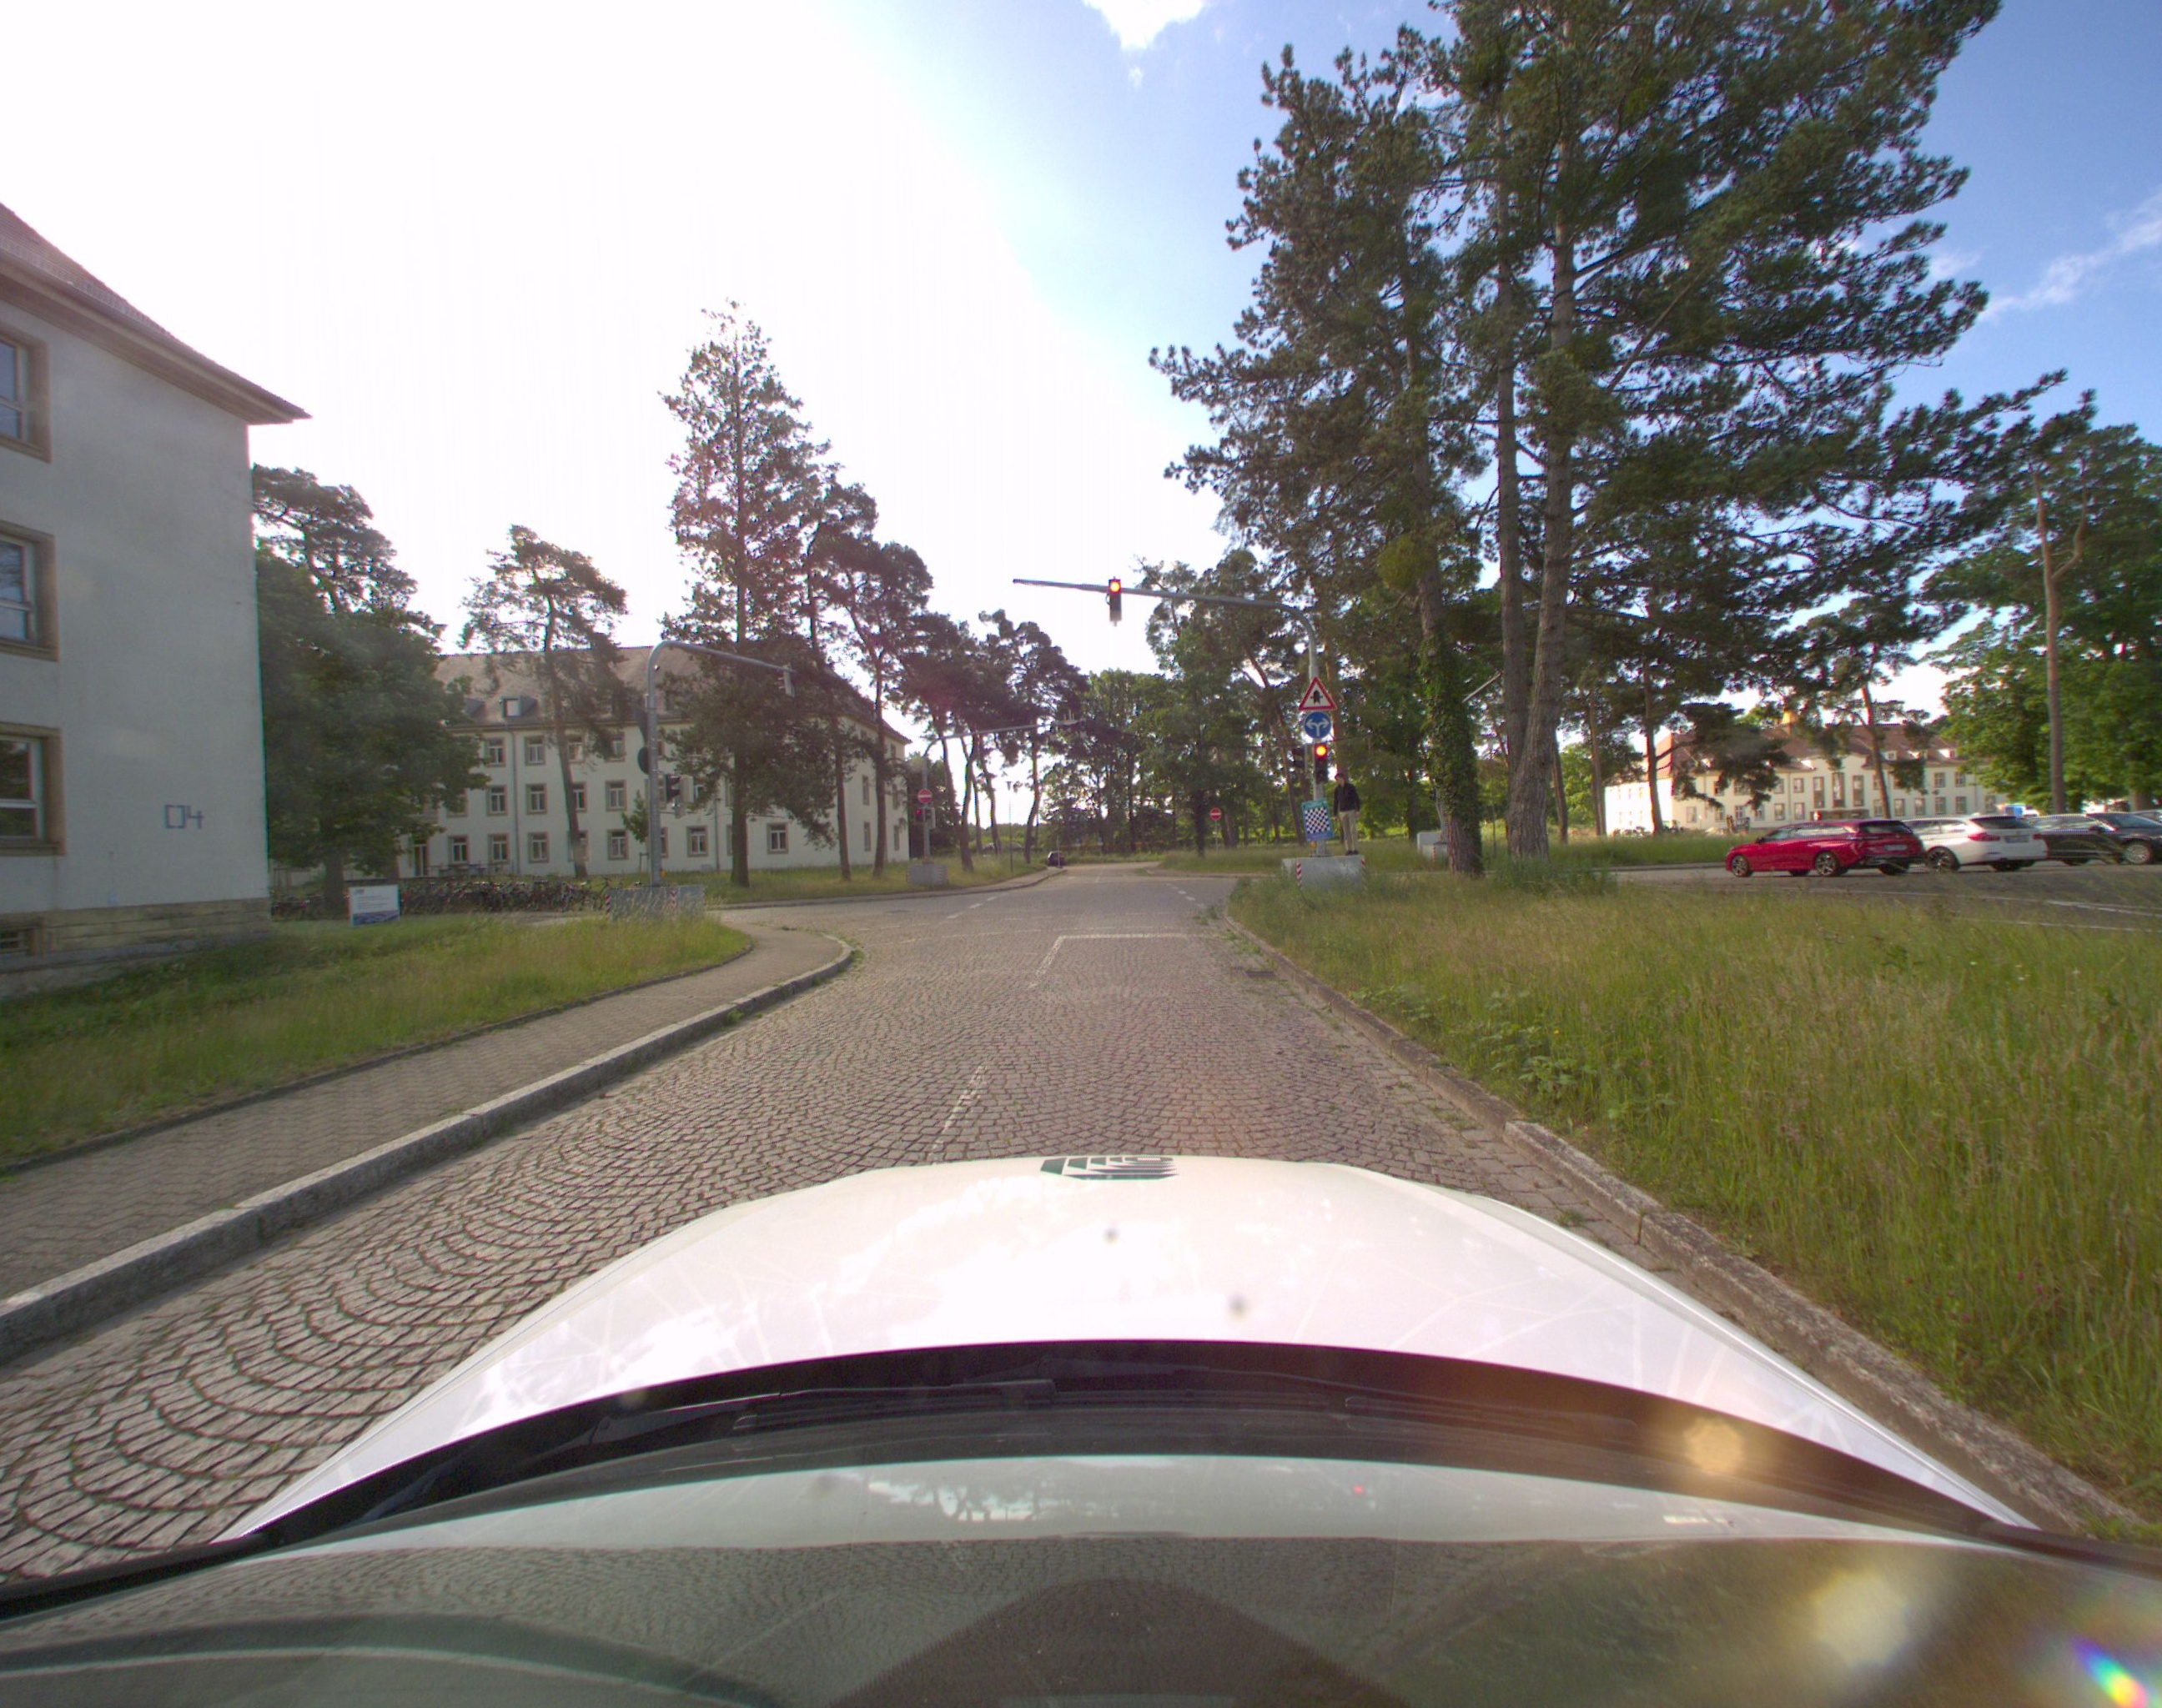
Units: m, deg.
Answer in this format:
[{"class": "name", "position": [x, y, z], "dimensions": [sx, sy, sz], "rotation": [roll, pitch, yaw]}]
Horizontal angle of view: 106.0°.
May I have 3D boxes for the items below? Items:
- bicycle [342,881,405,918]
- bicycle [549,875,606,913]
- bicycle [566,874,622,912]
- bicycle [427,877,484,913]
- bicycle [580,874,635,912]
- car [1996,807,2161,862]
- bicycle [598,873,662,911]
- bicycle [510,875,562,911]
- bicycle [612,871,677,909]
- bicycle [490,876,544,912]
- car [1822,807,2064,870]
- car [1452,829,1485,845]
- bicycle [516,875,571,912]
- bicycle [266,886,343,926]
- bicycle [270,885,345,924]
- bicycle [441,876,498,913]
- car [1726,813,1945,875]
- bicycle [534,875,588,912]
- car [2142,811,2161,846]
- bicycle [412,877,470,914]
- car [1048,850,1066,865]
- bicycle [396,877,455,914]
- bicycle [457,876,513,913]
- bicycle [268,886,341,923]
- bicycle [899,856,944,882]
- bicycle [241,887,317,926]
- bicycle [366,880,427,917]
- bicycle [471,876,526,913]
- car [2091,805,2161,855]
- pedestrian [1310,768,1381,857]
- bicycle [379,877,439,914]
[{"class": "bicycle", "position": [-26.087, 1.643, 30.075], "dimensions": [0.512, 1.220, 1.938], "rotation": [-2, 0, 2]}, {"class": "bicycle", "position": [-18.091, 1.402, 29.301], "dimensions": [0.630, 1.220, 2.105], "rotation": [-2, 0, 2]}, {"class": "bicycle", "position": [-17.487, 1.390, 29.283], "dimensions": [0.630, 1.220, 2.125], "rotation": [-2, 0, 2]}, {"class": "bicycle", "position": [-23.003, 1.489, 29.979], "dimensions": [0.512, 1.220, 1.938], "rotation": [-2, 0, 2]}, {"class": "bicycle", "position": [-17.004, 1.379, 29.282], "dimensions": [0.630, 1.220, 2.115], "rotation": [-2, 0, 2]}, {"class": "car", "position": [27.166, -0.514, 21.476], "dimensions": [1.610, 1.315, 4.048], "rotation": [-3, 0, 3]}, {"class": "bicycle", "position": [-15.773, 1.316, 28.499], "dimensions": [1.855, 1.220, 0.635], "rotation": [-2, 0, 1]}, {"class": "bicycle", "position": [-20.234, 1.437, 30.279], "dimensions": [0.546, 1.220, 1.900], "rotation": [-2, 0, 2]}, {"class": "bicycle", "position": [-15.647, 1.286, 29.211], "dimensions": [1.937, 1.220, 0.635], "rotation": [-2, 0, 1]}, {"class": "bicycle", "position": [-20.756, 1.451, 30.013], "dimensions": [0.512, 1.220, 2.016], "rotation": [-2, 0, 2]}, {"class": "car", "position": [22.083, -0.325, 21.158], "dimensions": [1.773, 1.379, 4.240], "rotation": [-2, -2, 0]}, {"class": "car", "position": [42.920, -1.874, 90.330], "dimensions": [1.820, 1.582, 4.165], "rotation": [-2, 0, 2]}, {"class": "bicycle", "position": [-19.676, 1.431, 29.846], "dimensions": [0.576, 1.220, 2.030], "rotation": [-2, 0, 2]}, {"class": "bicycle", "position": [-27.081, 1.792, 28.432], "dimensions": [1.836, 1.220, 0.510], "rotation": [-3, 0, -34]}, {"class": "bicycle", "position": [-27.462, 1.789, 28.948], "dimensions": [1.836, 1.220, 0.510], "rotation": [-3, 0, -34]}, {"class": "bicycle", "position": [-22.449, 1.478, 29.958], "dimensions": [0.512, 1.220, 1.955], "rotation": [-2, 0, 2]}, {"class": "car", "position": [19.256, -0.211, 21.099], "dimensions": [1.740, 1.399, 4.329], "rotation": [-1, -1, 2]}, {"class": "bicycle", "position": [-18.933, 1.416, 29.702], "dimensions": [0.570, 1.220, 1.990], "rotation": [-2, 0, 2]}, {"class": "car", "position": [44.850, -1.058, 31.680], "dimensions": [1.717, 1.424, 4.243], "rotation": [-1, 0, 2]}, {"class": "bicycle", "position": [-23.548, 1.500, 30.012], "dimensions": [0.512, 1.220, 1.938], "rotation": [-2, 0, 2]}, {"class": "car", "position": [-2.537, 0.371, 85.551], "dimensions": [1.704, 1.496, 3.918], "rotation": [-2, 0, 0]}, {"class": "bicycle", "position": [-24.140, 1.512, 30.041], "dimensions": [0.512, 1.220, 1.938], "rotation": [-2, 0, 2]}, {"class": "bicycle", "position": [-21.923, 1.470, 29.982], "dimensions": [0.512, 1.220, 1.978], "rotation": [-2, 0, 2]}, {"class": "bicycle", "position": [-28.535, 1.844, 29.959], "dimensions": [0.509, 1.220, 1.841], "rotation": [-2, 0, 39]}, {"class": "bicycle", "position": [-7.092, 0.665, 36.237], "dimensions": [0.627, 1.066, 1.963], "rotation": [-2, 0, 40]}, {"class": "bicycle", "position": [-28.572, 1.851, 29.025], "dimensions": [0.509, 1.220, 1.841], "rotation": [-2, 0, 39]}, {"class": "bicycle", "position": [-25.210, 1.625, 30.052], "dimensions": [0.512, 1.220, 1.938], "rotation": [-2, 0, 2]}, {"class": "bicycle", "position": [-21.405, 1.464, 29.978], "dimensions": [0.512, 1.220, 1.978], "rotation": [-2, 0, 2]}, {"class": "car", "position": [30.101, -0.668, 21.741], "dimensions": [1.716, 1.372, 3.796], "rotation": [-1, 0, 4]}, {"class": "pedestrian", "position": [5.722, -0.875, 17.566], "dimensions": [1.157, 1.796, 1.069], "rotation": [-3, 0, 31]}, {"class": "bicycle", "position": [-24.750, 1.524, 30.040], "dimensions": [0.512, 1.220, 1.938], "rotation": [-2, 0, 2]}]
